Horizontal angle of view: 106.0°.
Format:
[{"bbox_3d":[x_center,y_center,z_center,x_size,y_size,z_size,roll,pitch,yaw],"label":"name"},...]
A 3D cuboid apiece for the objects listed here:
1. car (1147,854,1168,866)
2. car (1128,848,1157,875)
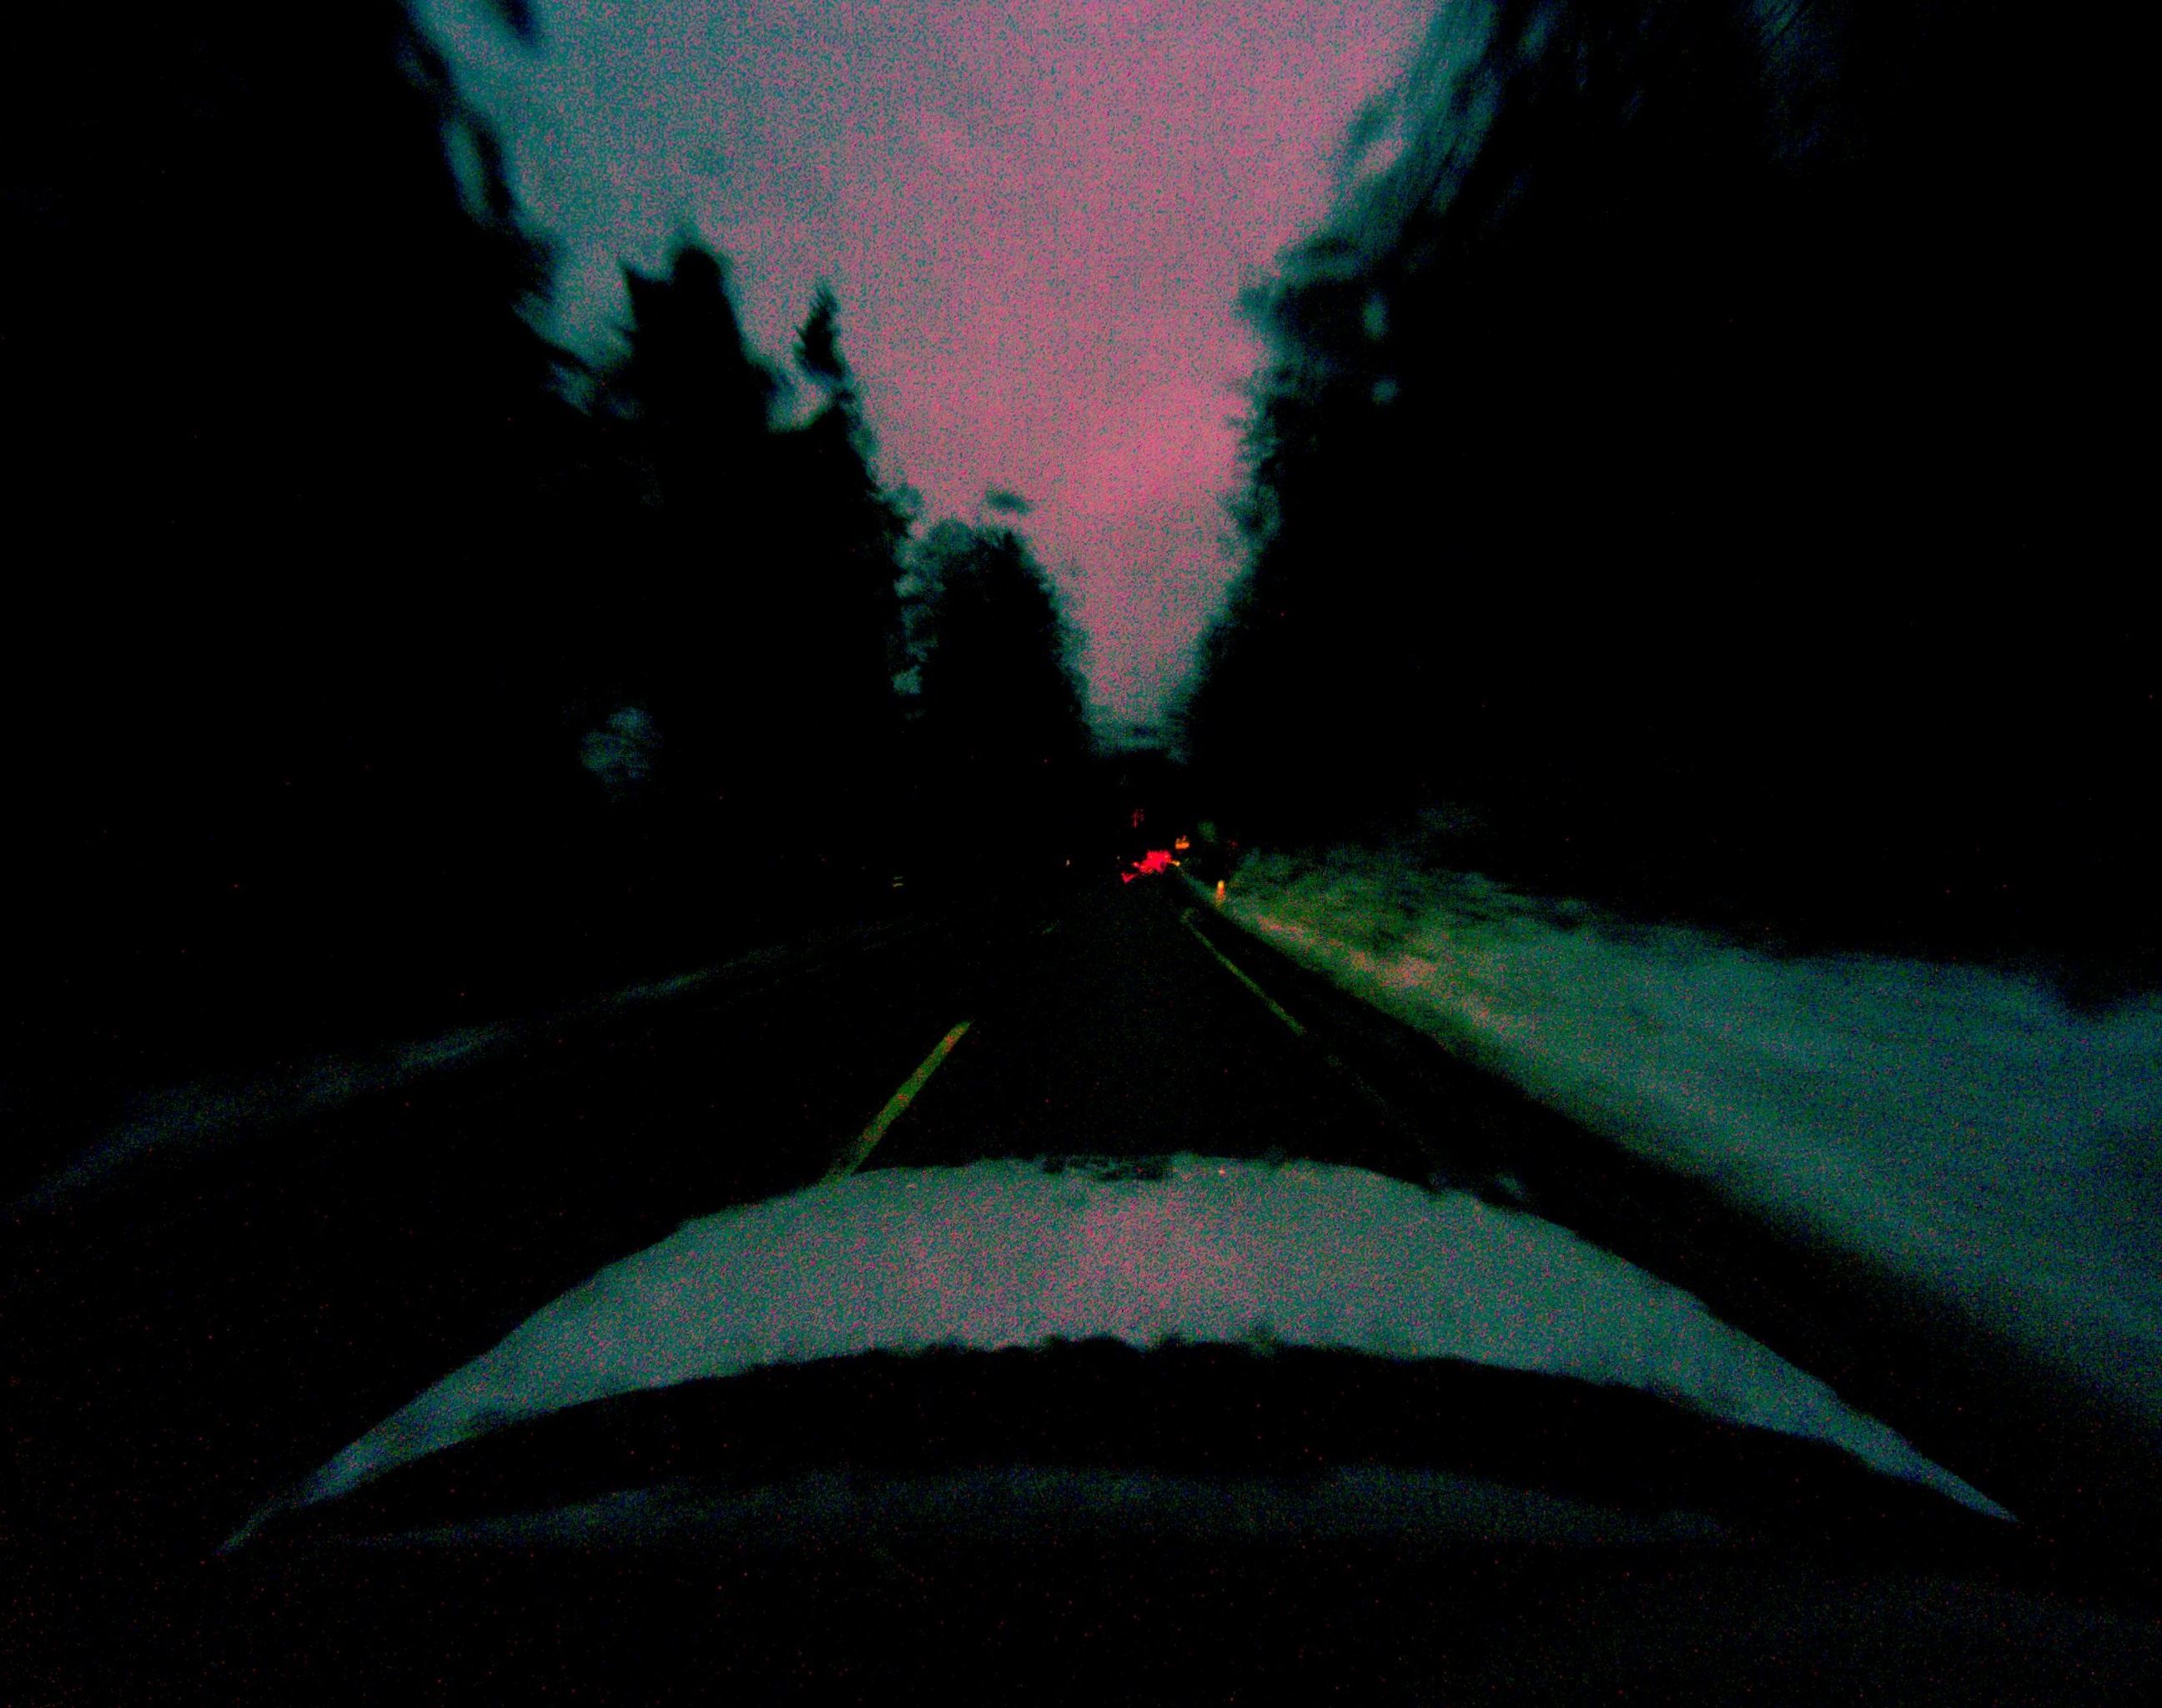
[{"bbox_3d":[9.428,0.686,100.741,1.989,1.310,3.997,-4,0,-2],"label":"car"},{"bbox_3d":[4.792,0.535,63.187,1.983,1.872,4.008,-4,0,7],"label":"car"}]
